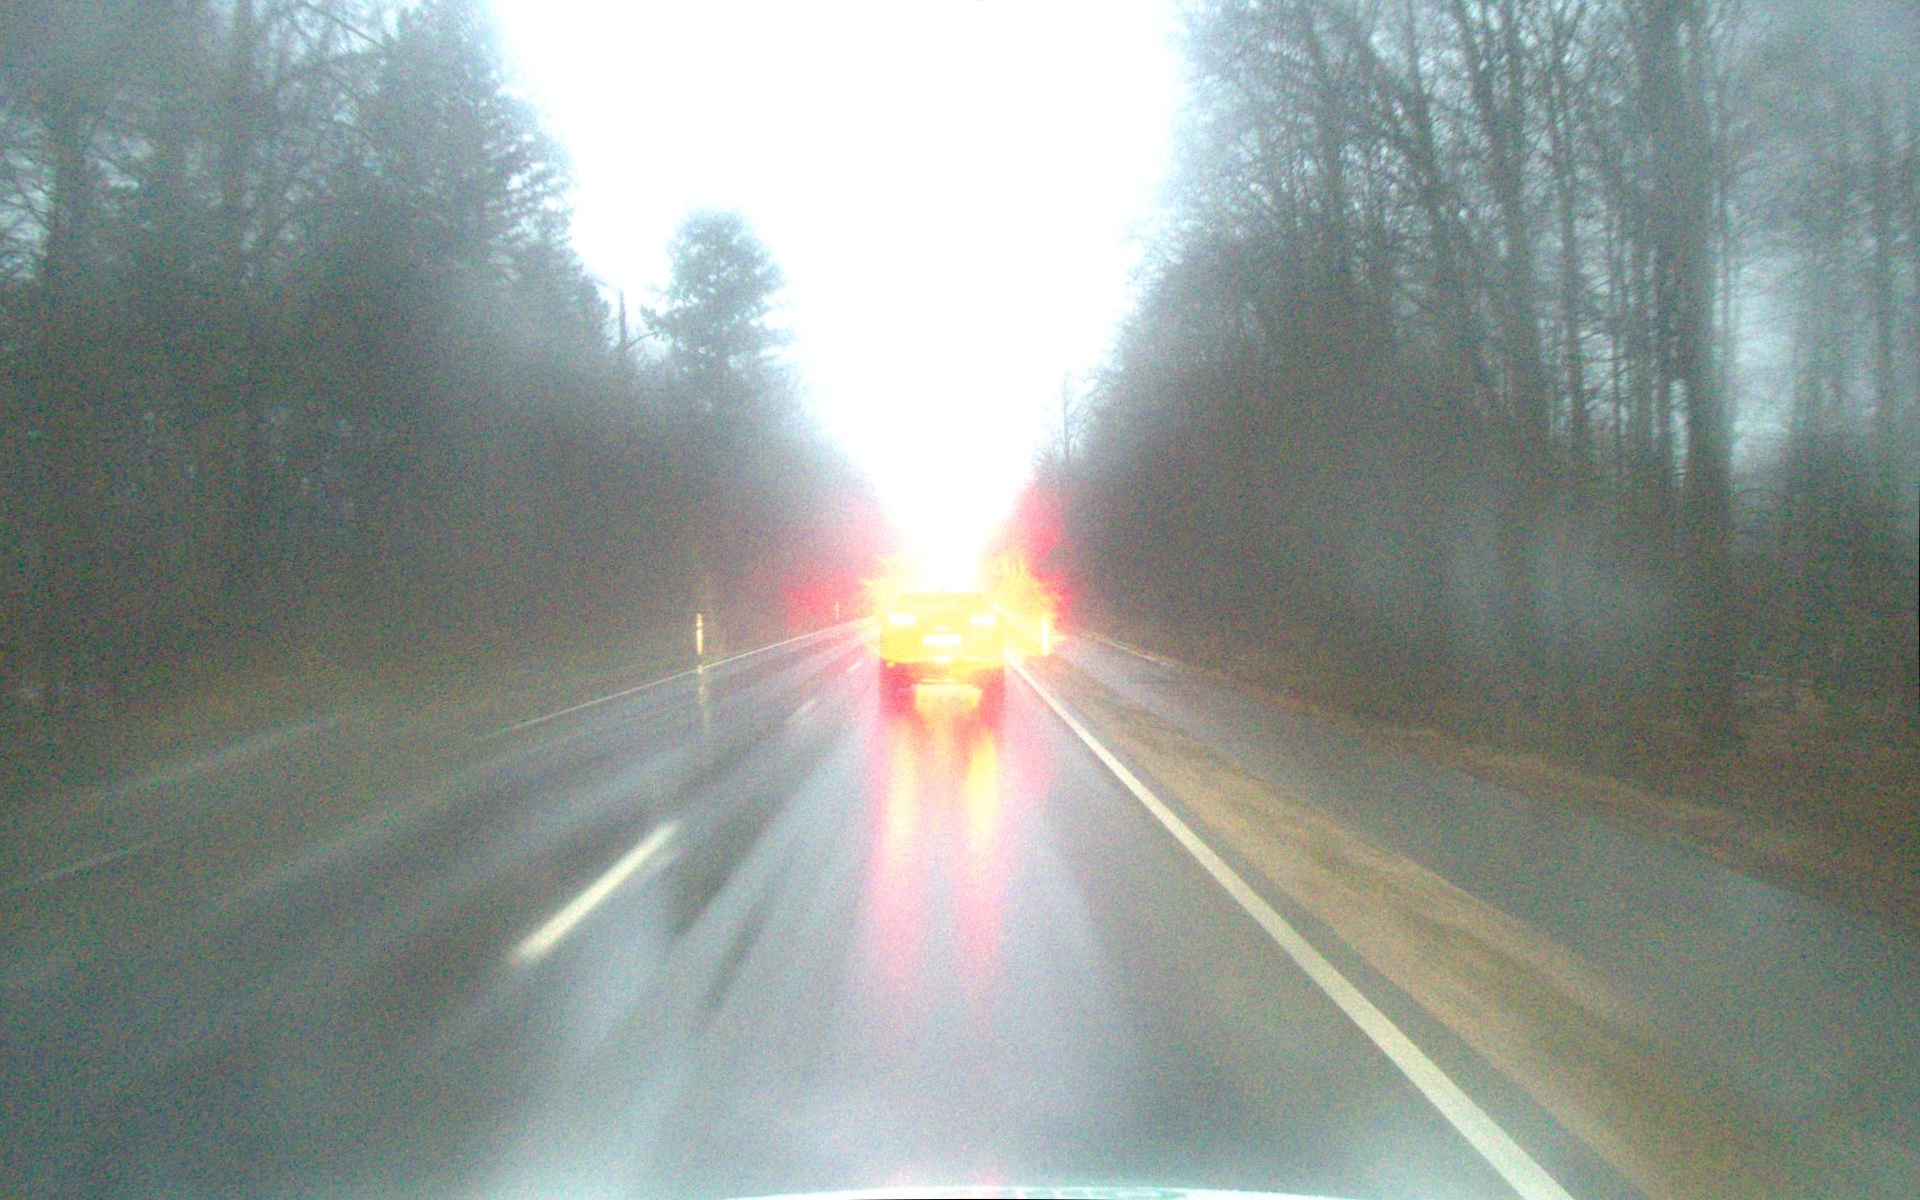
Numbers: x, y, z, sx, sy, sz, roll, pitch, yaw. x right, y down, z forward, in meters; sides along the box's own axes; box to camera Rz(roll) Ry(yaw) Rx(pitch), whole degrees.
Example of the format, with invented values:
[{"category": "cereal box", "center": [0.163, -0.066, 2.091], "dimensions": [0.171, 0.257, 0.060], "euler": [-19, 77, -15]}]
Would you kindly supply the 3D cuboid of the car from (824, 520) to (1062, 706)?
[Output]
[{"category": "car", "center": [-0.234, 0.159, 25.143], "dimensions": [3.118, 2.428, 6.636], "euler": [1, 0, 0]}]
